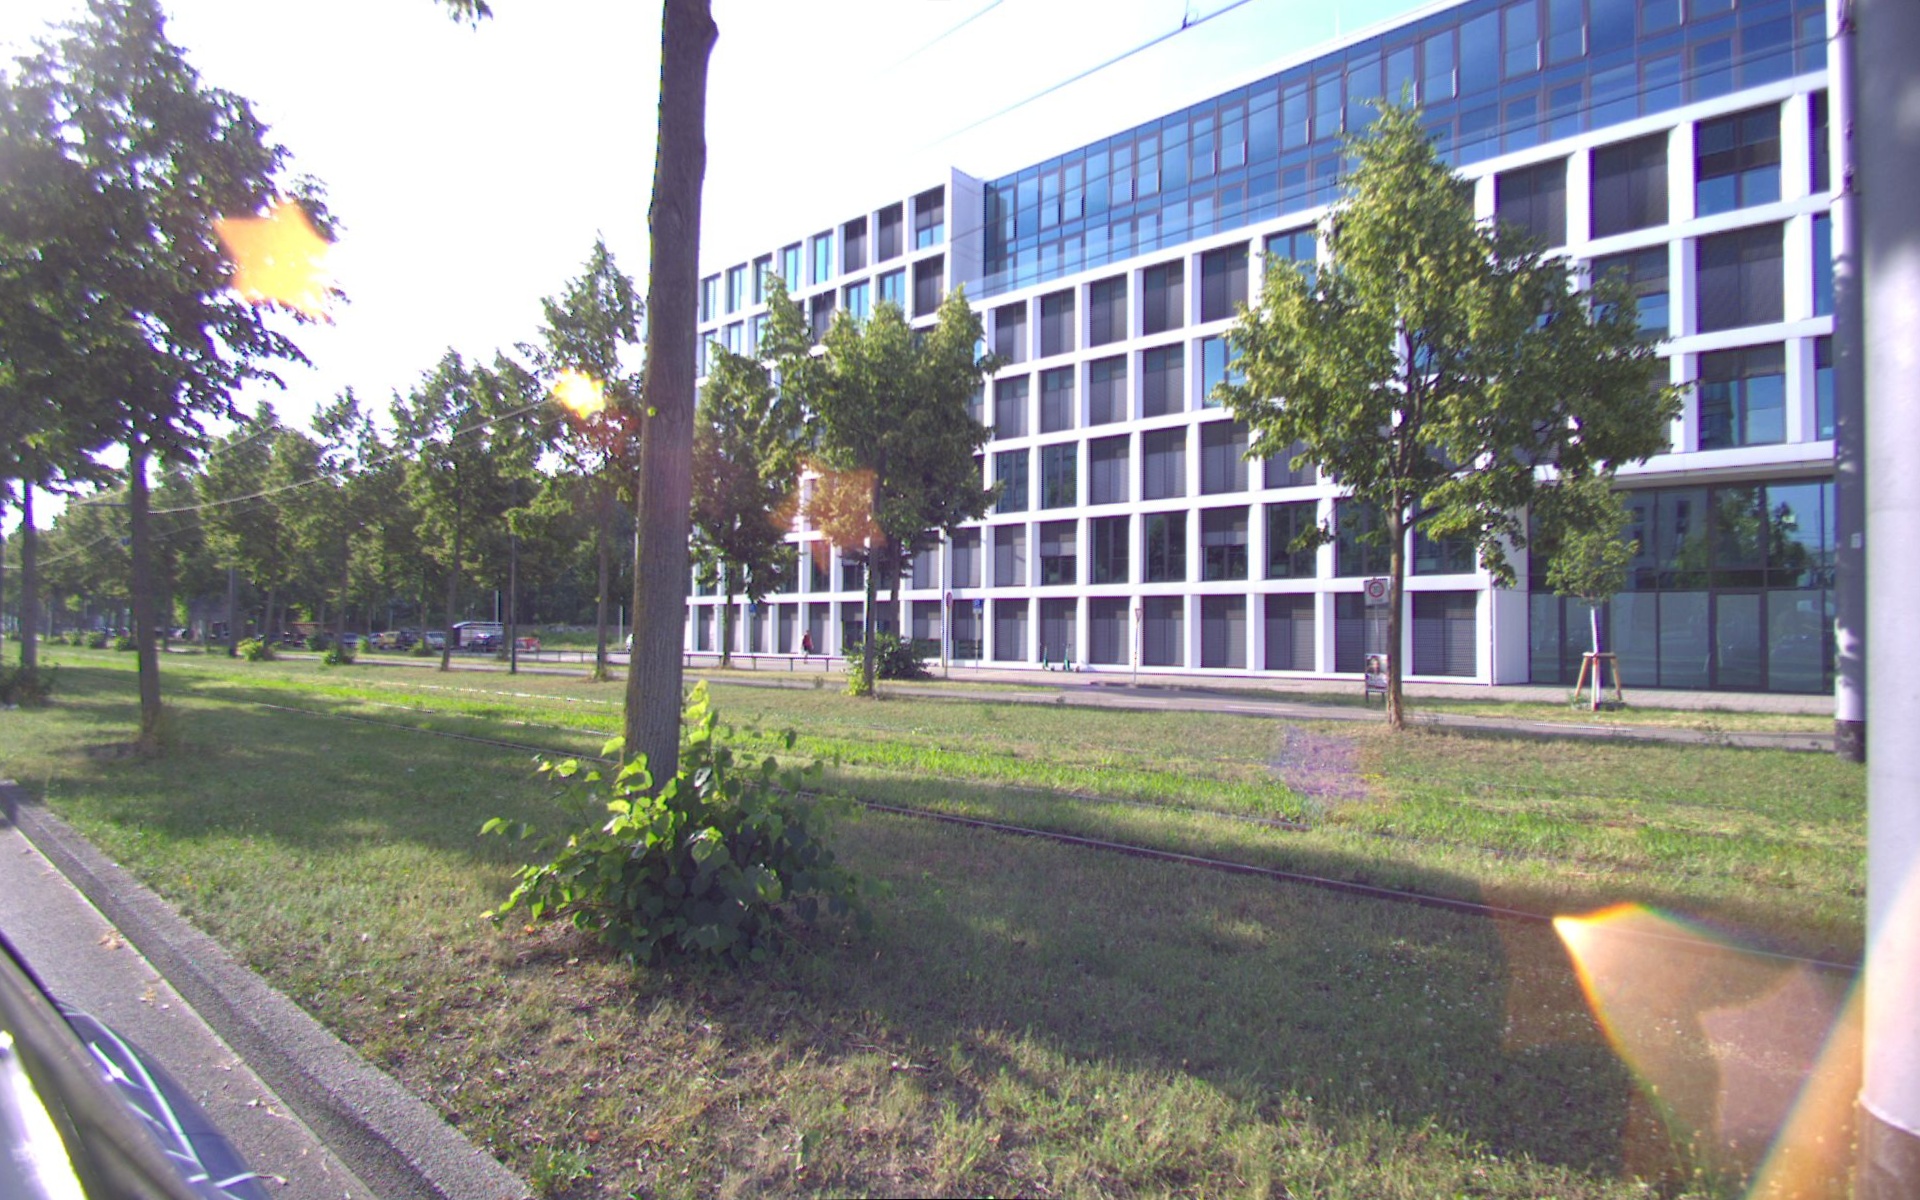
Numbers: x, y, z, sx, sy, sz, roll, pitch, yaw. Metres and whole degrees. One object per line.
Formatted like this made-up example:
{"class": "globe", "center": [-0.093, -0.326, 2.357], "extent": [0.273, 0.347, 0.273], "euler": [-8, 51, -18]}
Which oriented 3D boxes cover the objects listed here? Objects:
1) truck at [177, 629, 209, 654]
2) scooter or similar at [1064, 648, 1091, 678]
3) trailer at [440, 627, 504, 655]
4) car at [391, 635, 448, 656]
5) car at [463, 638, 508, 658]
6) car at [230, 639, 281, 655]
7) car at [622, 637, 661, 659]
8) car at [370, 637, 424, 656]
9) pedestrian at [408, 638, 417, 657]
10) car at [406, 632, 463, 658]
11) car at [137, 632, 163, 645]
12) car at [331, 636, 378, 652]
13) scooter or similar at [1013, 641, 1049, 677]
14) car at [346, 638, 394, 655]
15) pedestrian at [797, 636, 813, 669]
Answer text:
{"class": "truck", "center": [-113.209, 6.094, 149.292], "extent": [2.855, 3.542, 7.950], "euler": [0, 0, -44]}
{"class": "scooter or similar", "center": [4.984, 2.679, 43.066], "extent": [0.331, 1.235, 1.302], "euler": [0, 0, -35]}
{"class": "trailer", "center": [-39.519, 3.264, 82.015], "extent": [1.758, 2.069, 4.315], "euler": [-1, 0, 44]}
{"class": "car", "center": [-46.631, 3.922, 87.338], "extent": [1.757, 1.655, 3.950], "euler": [-1, 0, 42]}
{"class": "car", "center": [-36.967, 3.732, 78.849], "extent": [3.757, 1.404, 1.663], "euler": [-1, 0, 38]}
{"class": "car", "center": [-68.665, 4.538, 98.671], "extent": [3.987, 1.446, 1.684], "euler": [-1, 0, 7]}
{"class": "car", "center": [-26.416, 3.952, 83.873], "extent": [1.824, 1.608, 4.008], "euler": [0, 0, -38]}
{"class": "car", "center": [-51.546, 4.216, 92.749], "extent": [1.856, 1.572, 3.943], "euler": [-1, 0, 43]}
{"class": "pedestrian", "center": [-45.578, 3.948, 84.226], "extent": [0.568, 1.491, 0.516], "euler": [-1, -1, 40]}
{"class": "car", "center": [-44.264, 3.763, 85.270], "extent": [1.757, 1.962, 3.950], "euler": [-1, 0, 42]}
{"class": "car", "center": [-96.042, 4.586, 120.003], "extent": [4.474, 1.442, 1.810], "euler": [-1, 0, 43]}
{"class": "car", "center": [-60.574, 4.383, 101.268], "extent": [3.810, 1.497, 1.746], "euler": [0, 0, -41]}
{"class": "scooter or similar", "center": [3.115, 2.559, 44.168], "extent": [0.415, 1.488, 1.907], "euler": [-1, -1, 45]}
{"class": "car", "center": [-55.816, 4.419, 95.731], "extent": [1.810, 1.439, 3.606], "euler": [-1, 0, 43]}
{"class": "pedestrian", "center": [-8.308, 2.807, 54.253], "extent": [0.691, 1.741, 0.561], "euler": [-1, -1, 41]}
